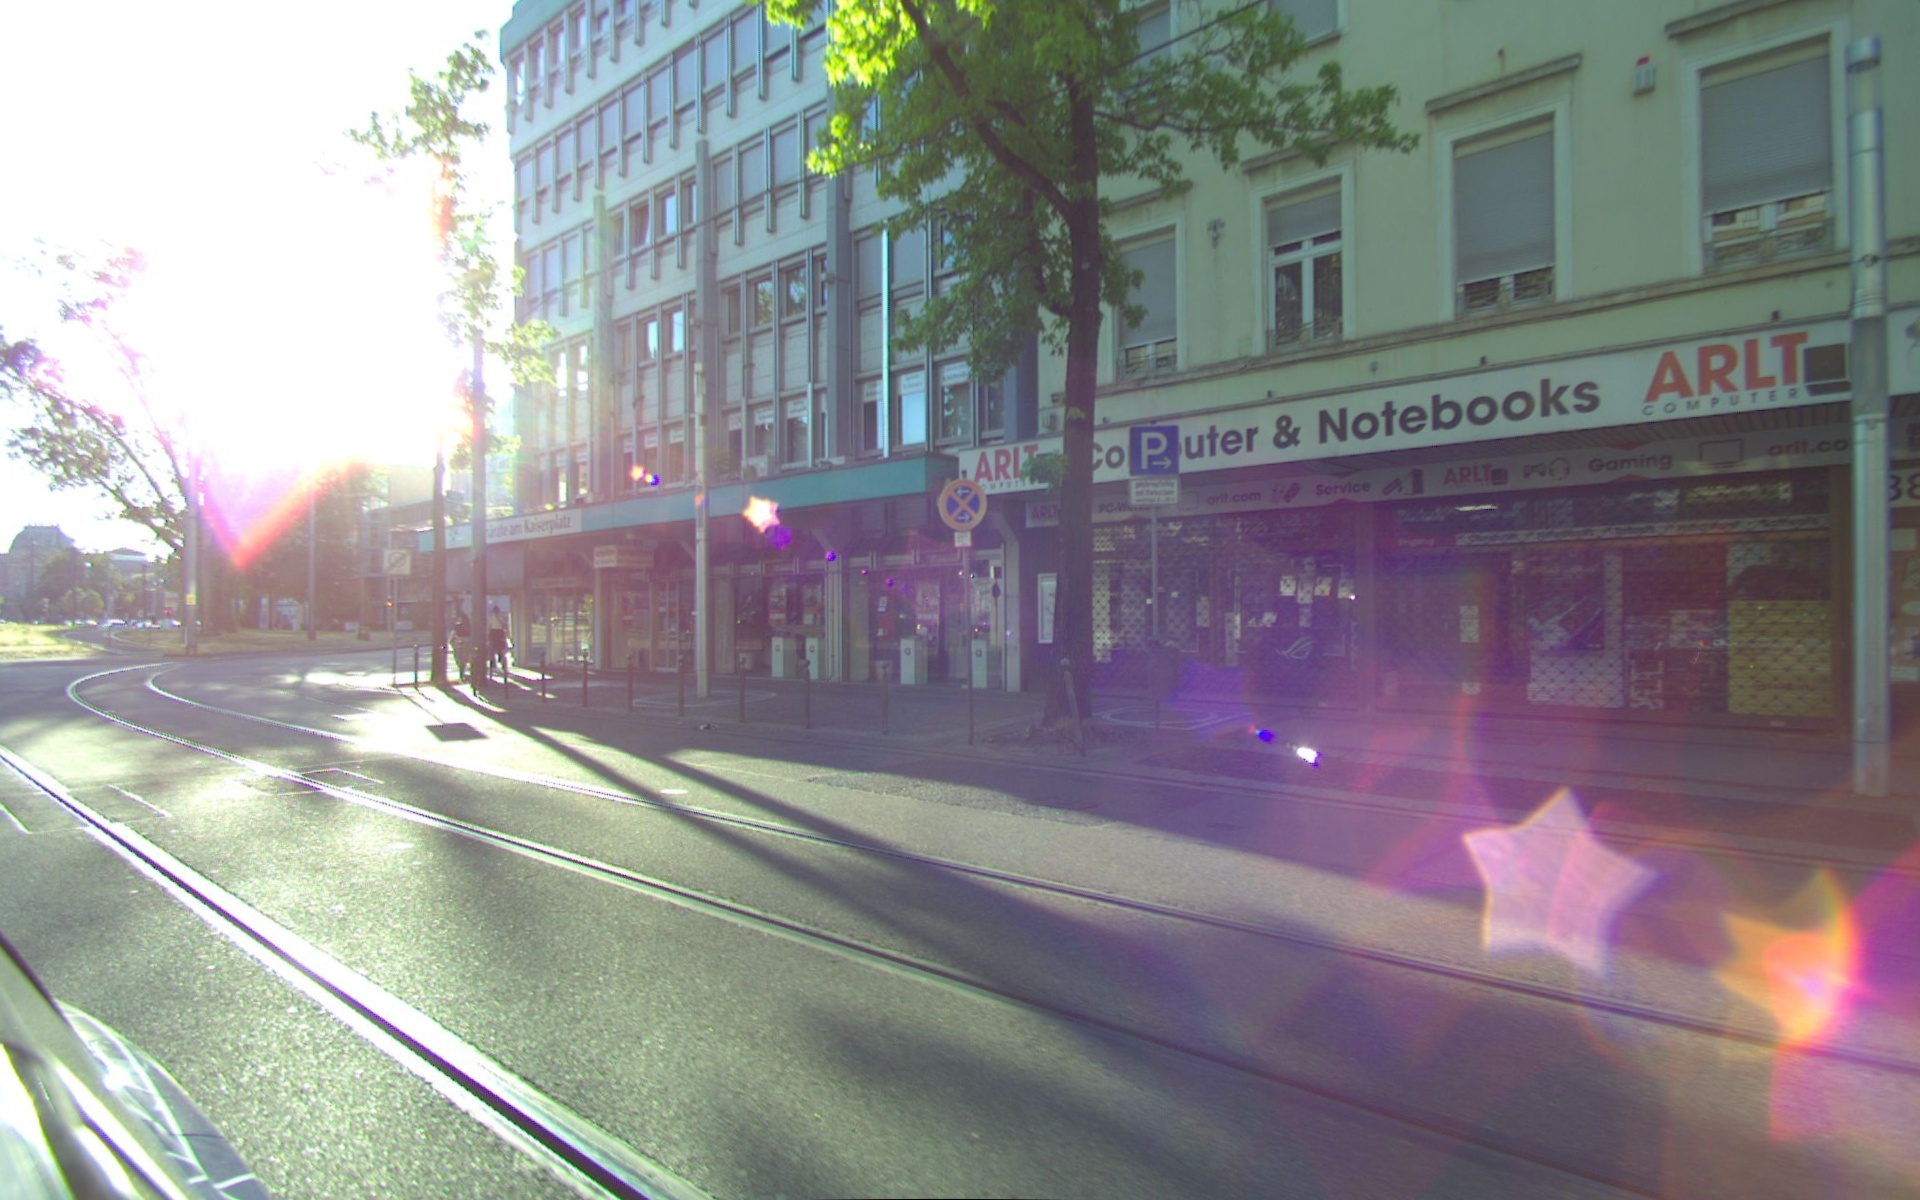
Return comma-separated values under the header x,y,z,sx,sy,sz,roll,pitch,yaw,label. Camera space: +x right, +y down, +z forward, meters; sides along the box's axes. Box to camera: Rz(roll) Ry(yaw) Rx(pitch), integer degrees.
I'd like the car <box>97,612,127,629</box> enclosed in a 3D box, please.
x,y,z,sx,sy,sz,roll,pitch,yaw,label
-105.309,2.563,125.624,4.543,2.029,1.974,-1,0,39,car

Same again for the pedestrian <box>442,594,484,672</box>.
x,y,z,sx,sy,sz,roll,pitch,yaw,label
-13.293,0.873,27.071,0.734,2.029,0.788,0,0,42,pedestrian

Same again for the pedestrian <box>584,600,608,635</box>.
x,y,z,sx,sy,sz,roll,pitch,yaw,label
-17.929,0.842,49.891,0.892,1.715,1.166,0,-1,-32,pedestrian

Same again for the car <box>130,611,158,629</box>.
x,y,z,sx,sy,sz,roll,pitch,yaw,label
-94.668,2.272,117.381,3.999,2.029,1.972,-1,-1,42,car

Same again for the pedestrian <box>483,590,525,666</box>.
x,y,z,sx,sy,sz,roll,pitch,yaw,label
-12.385,0.753,27.492,0.734,2.029,0.788,0,0,42,pedestrian
